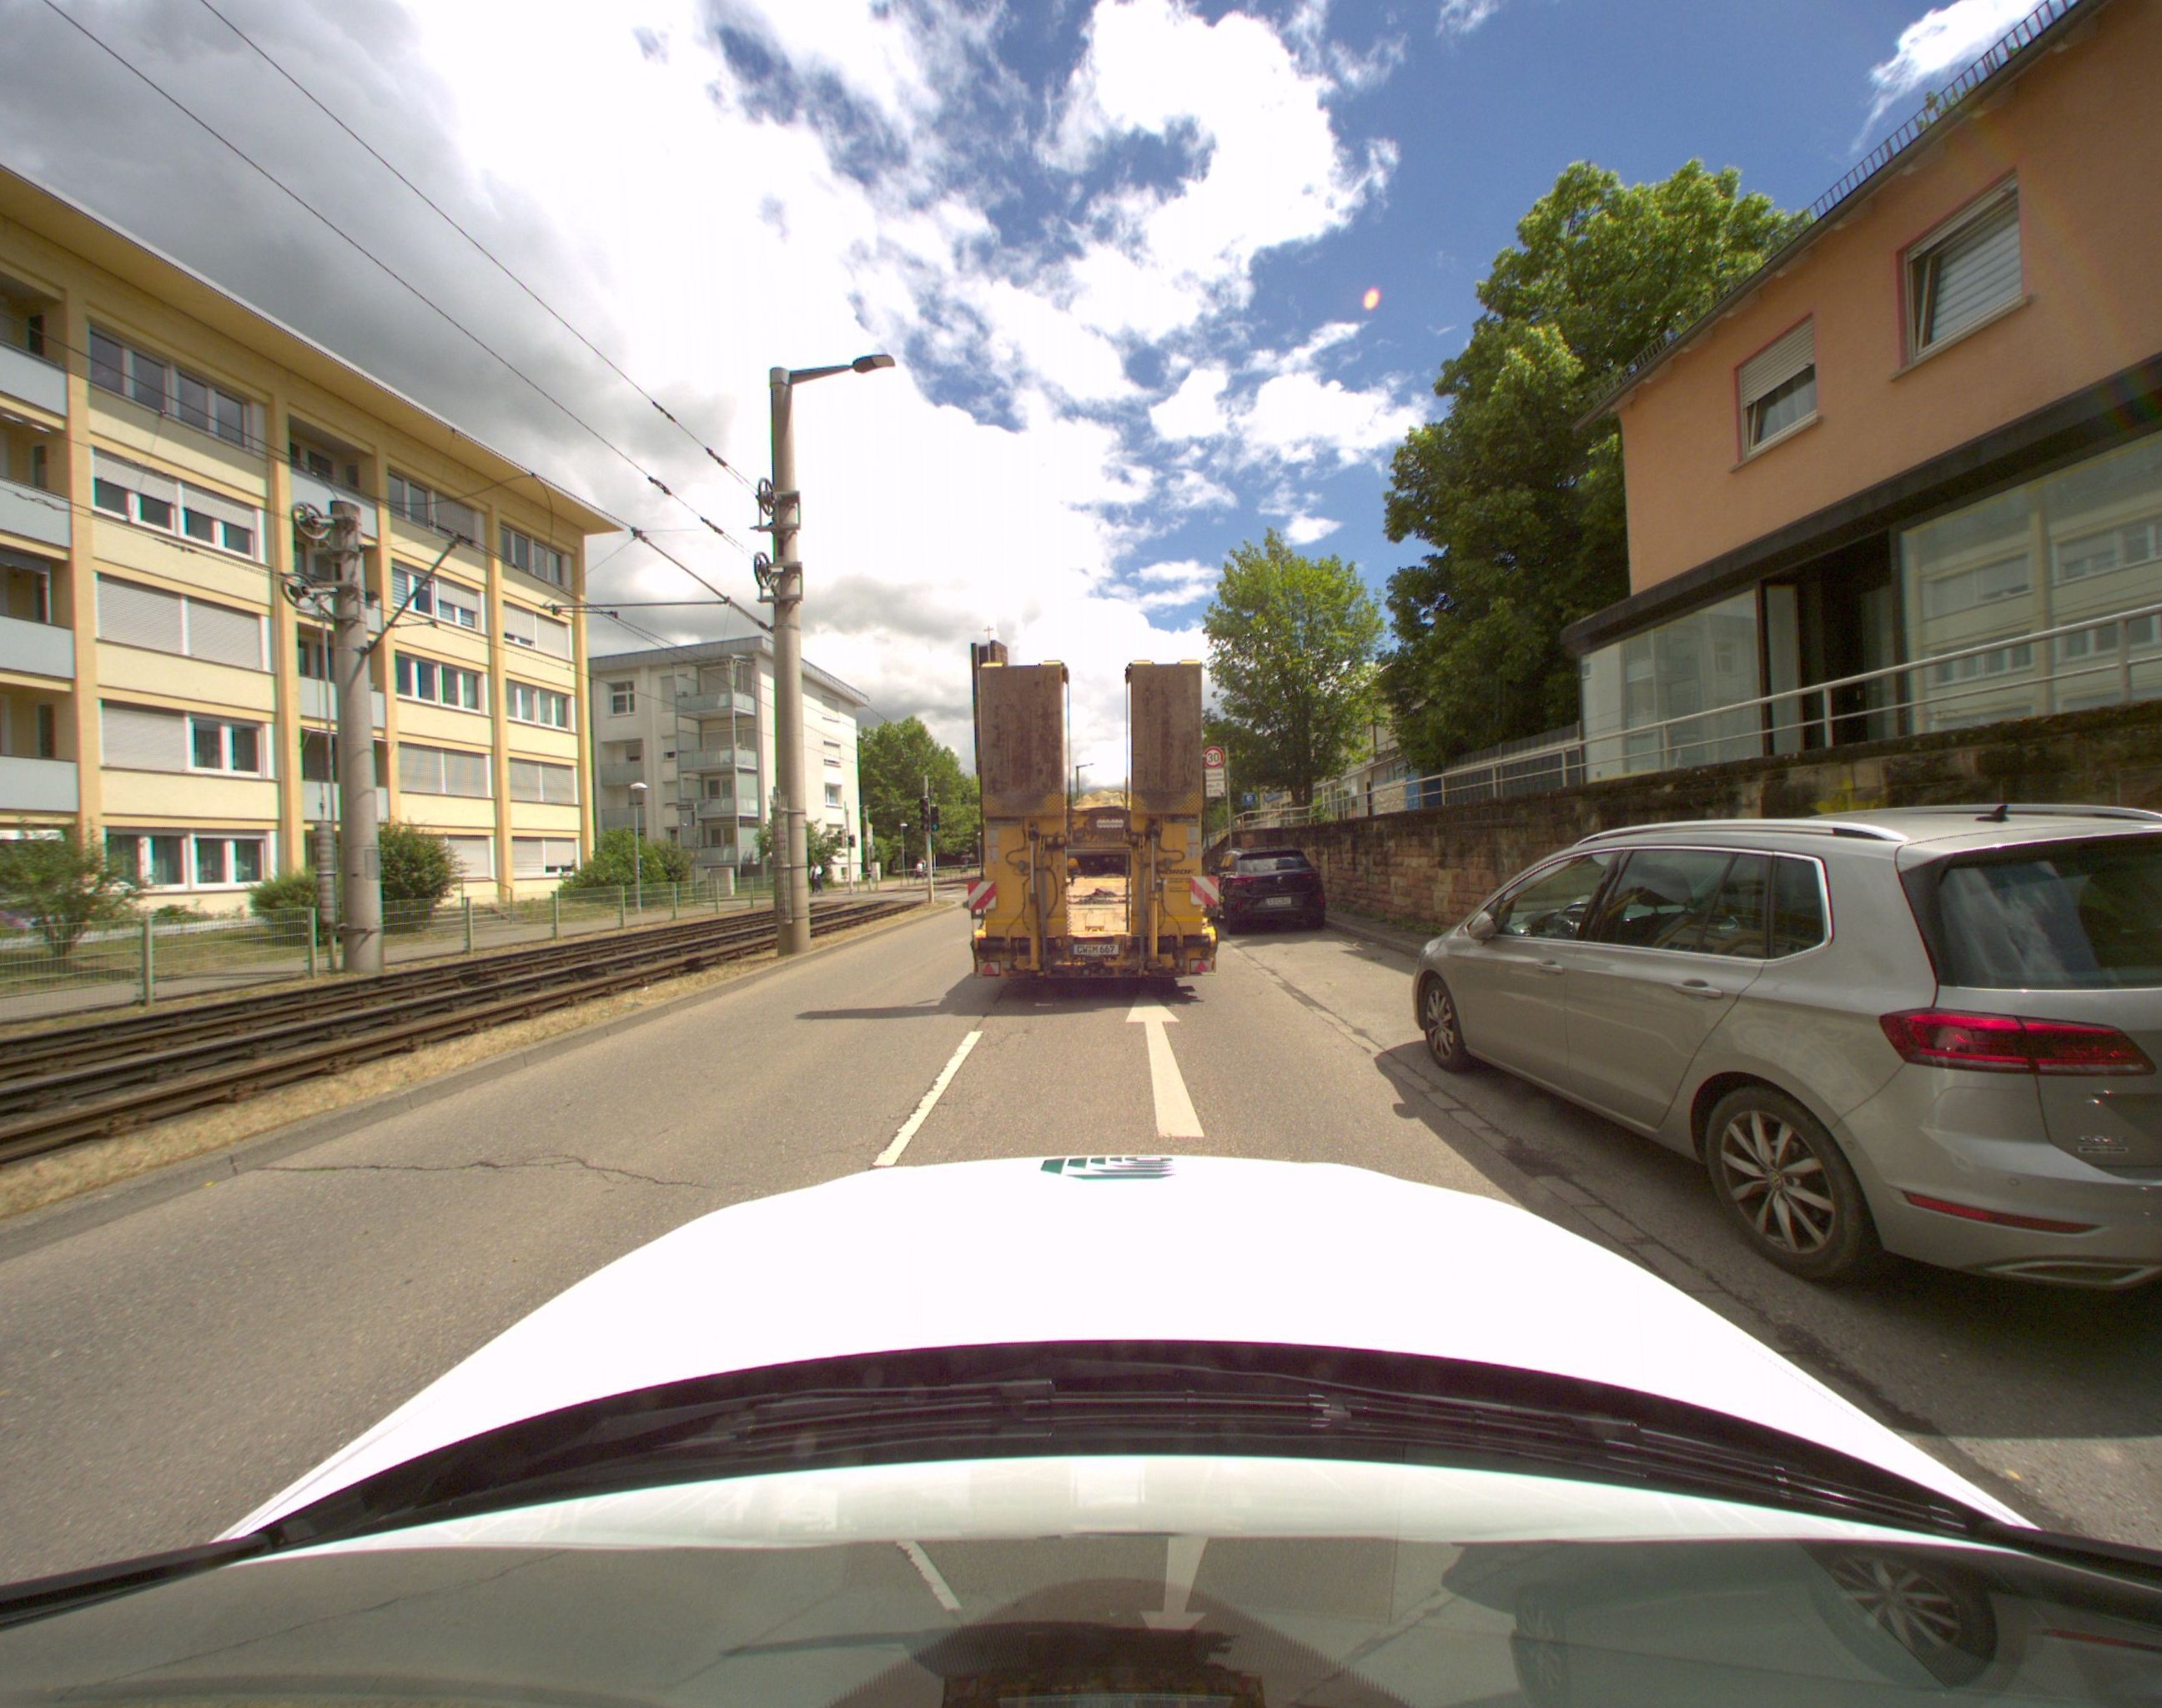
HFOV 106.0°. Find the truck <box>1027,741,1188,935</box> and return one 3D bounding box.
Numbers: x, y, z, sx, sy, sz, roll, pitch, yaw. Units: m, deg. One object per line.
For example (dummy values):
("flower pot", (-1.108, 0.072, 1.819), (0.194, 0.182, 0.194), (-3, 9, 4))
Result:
("truck", (0.607, -0.307, 17.836), (2.931, 3.572, 4.880), (-2, 0, 2))

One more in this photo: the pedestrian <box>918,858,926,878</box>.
("pedestrian", (-11.906, 1.044, 61.045), (0.346, 1.537, 0.558), (-2, 0, 5))

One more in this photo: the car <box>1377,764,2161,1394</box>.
("car", (3.221, 0.551, 4.257), (1.783, 1.617, 4.249), (-3, 0, 1))

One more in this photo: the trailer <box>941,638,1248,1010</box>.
("trailer", (0.340, -0.299, 12.469), (2.933, 3.601, 8.690), (-2, 0, 3))

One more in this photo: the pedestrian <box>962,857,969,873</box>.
("pedestrian", (-11.103, 1.030, 78.096), (0.562, 1.513, 0.646), (0, 0, 1))

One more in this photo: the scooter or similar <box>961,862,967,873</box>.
("scooter or similar", (-11.147, 1.294, 77.439), (0.504, 0.971, 0.646), (0, 0, 1))

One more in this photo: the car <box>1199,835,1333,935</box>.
("car", (3.528, 0.540, 16.261), (1.843, 1.639, 4.003), (-3, 0, 3))

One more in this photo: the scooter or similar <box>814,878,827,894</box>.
("scooter or similar", (-12.679, 1.552, 39.603), (0.435, 0.747, 0.475), (-2, 0, 7))

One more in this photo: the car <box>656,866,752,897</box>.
("car", (-19.195, 1.384, 41.538), (3.963, 1.345, 1.906), (-2, 0, 9))

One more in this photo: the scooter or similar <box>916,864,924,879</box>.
("scooter or similar", (-11.953, 1.289, 60.405), (0.336, 1.057, 0.689), (-2, 0, 5))

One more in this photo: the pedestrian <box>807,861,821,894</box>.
("pedestrian", (-13.083, 1.136, 39.959), (0.435, 1.581, 0.475), (-2, 0, 7))
